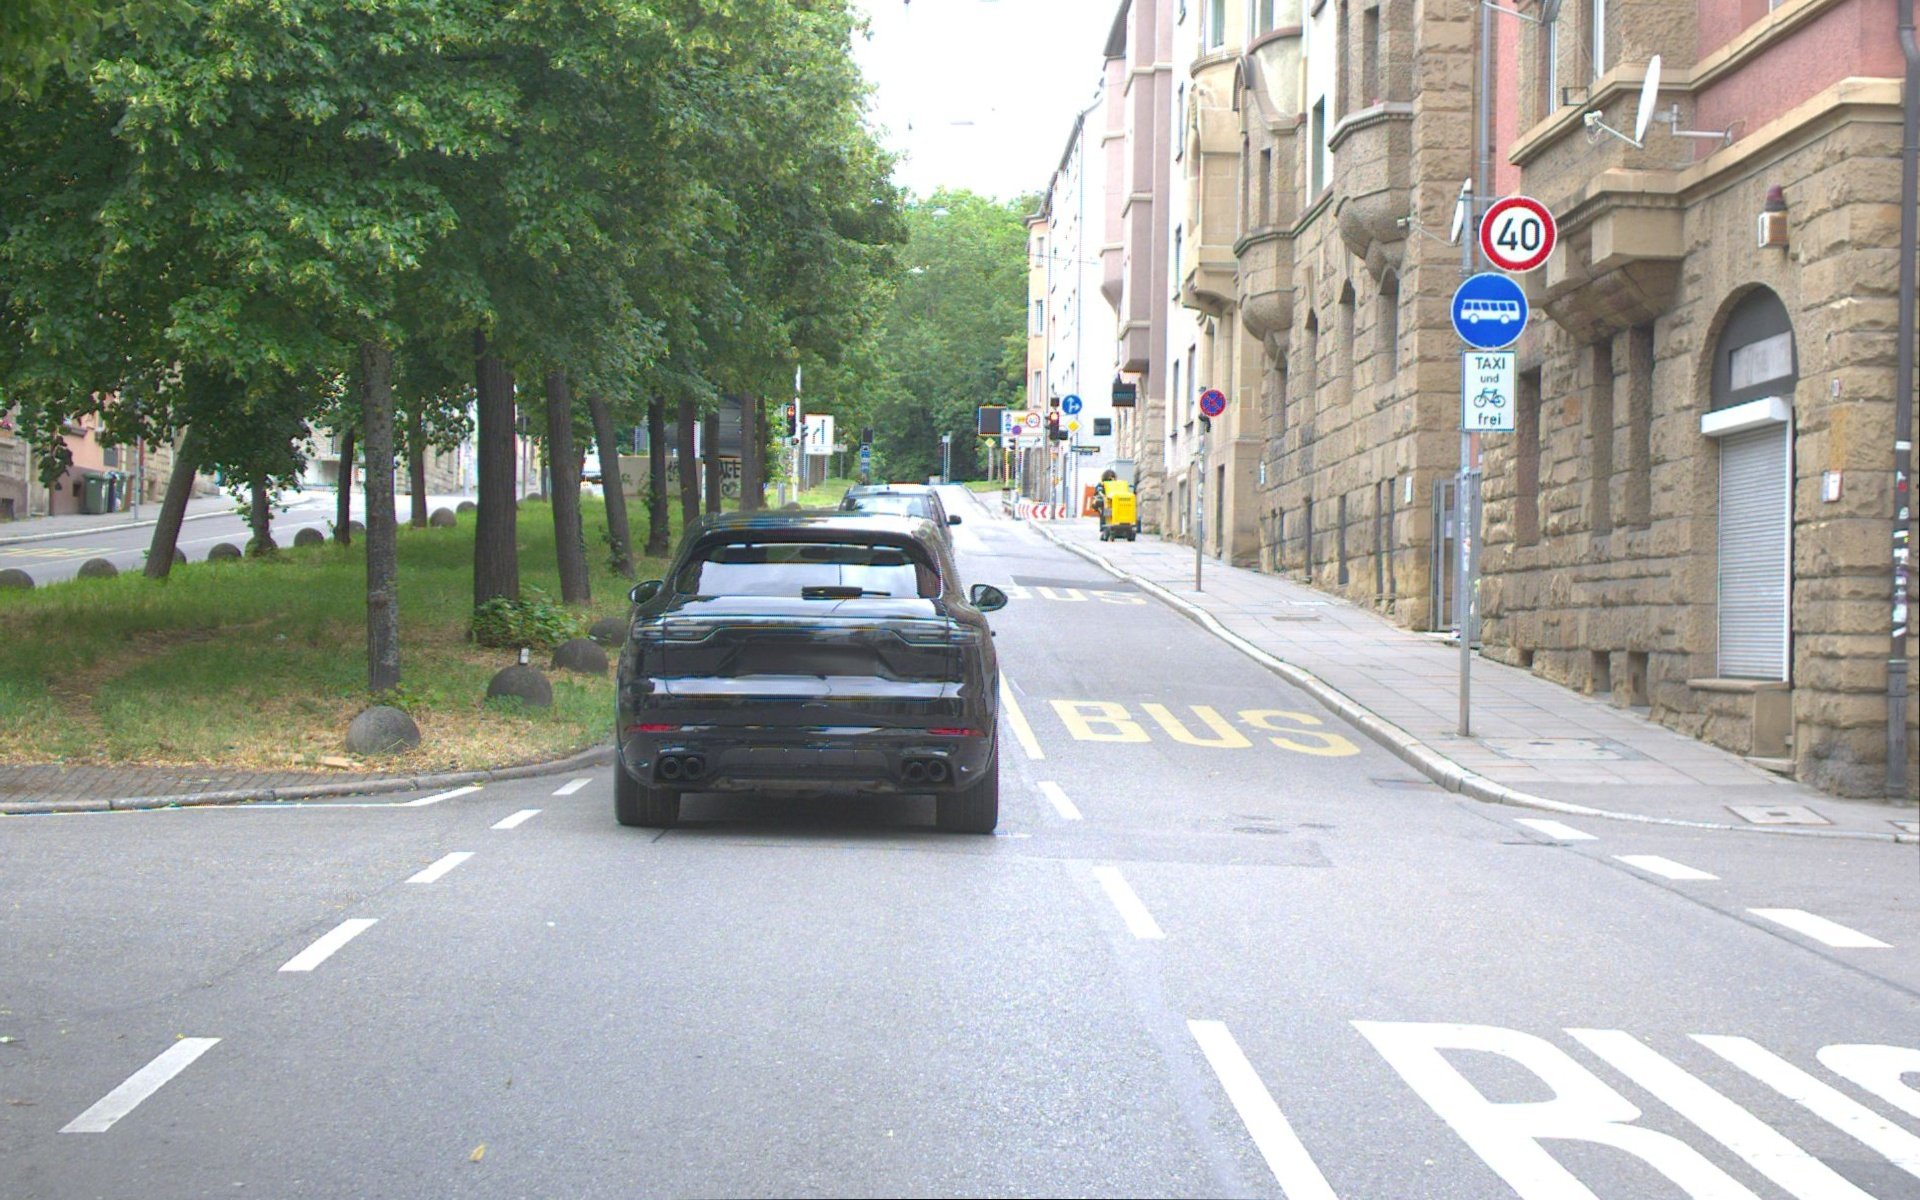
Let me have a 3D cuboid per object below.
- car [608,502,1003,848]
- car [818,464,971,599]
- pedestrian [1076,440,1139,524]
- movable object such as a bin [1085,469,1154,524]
[{"bbox_3d":[-0.851,0.331,18.940,1.903,1.660,4.136,1,1,-3],"label":"car"},{"bbox_3d":[-0.894,-0.943,47.745,1.993,1.747,4.000,1,1,-1],"label":"car"},{"bbox_3d":[3.573,-2.848,83.204,1.301,2.007,1.020,1,1,-10],"label":"pedestrian"},{"bbox_3d":[3.794,-2.449,81.824,1.236,1.270,1.847,1,1,-10],"label":"movable object such as a bin"}]
